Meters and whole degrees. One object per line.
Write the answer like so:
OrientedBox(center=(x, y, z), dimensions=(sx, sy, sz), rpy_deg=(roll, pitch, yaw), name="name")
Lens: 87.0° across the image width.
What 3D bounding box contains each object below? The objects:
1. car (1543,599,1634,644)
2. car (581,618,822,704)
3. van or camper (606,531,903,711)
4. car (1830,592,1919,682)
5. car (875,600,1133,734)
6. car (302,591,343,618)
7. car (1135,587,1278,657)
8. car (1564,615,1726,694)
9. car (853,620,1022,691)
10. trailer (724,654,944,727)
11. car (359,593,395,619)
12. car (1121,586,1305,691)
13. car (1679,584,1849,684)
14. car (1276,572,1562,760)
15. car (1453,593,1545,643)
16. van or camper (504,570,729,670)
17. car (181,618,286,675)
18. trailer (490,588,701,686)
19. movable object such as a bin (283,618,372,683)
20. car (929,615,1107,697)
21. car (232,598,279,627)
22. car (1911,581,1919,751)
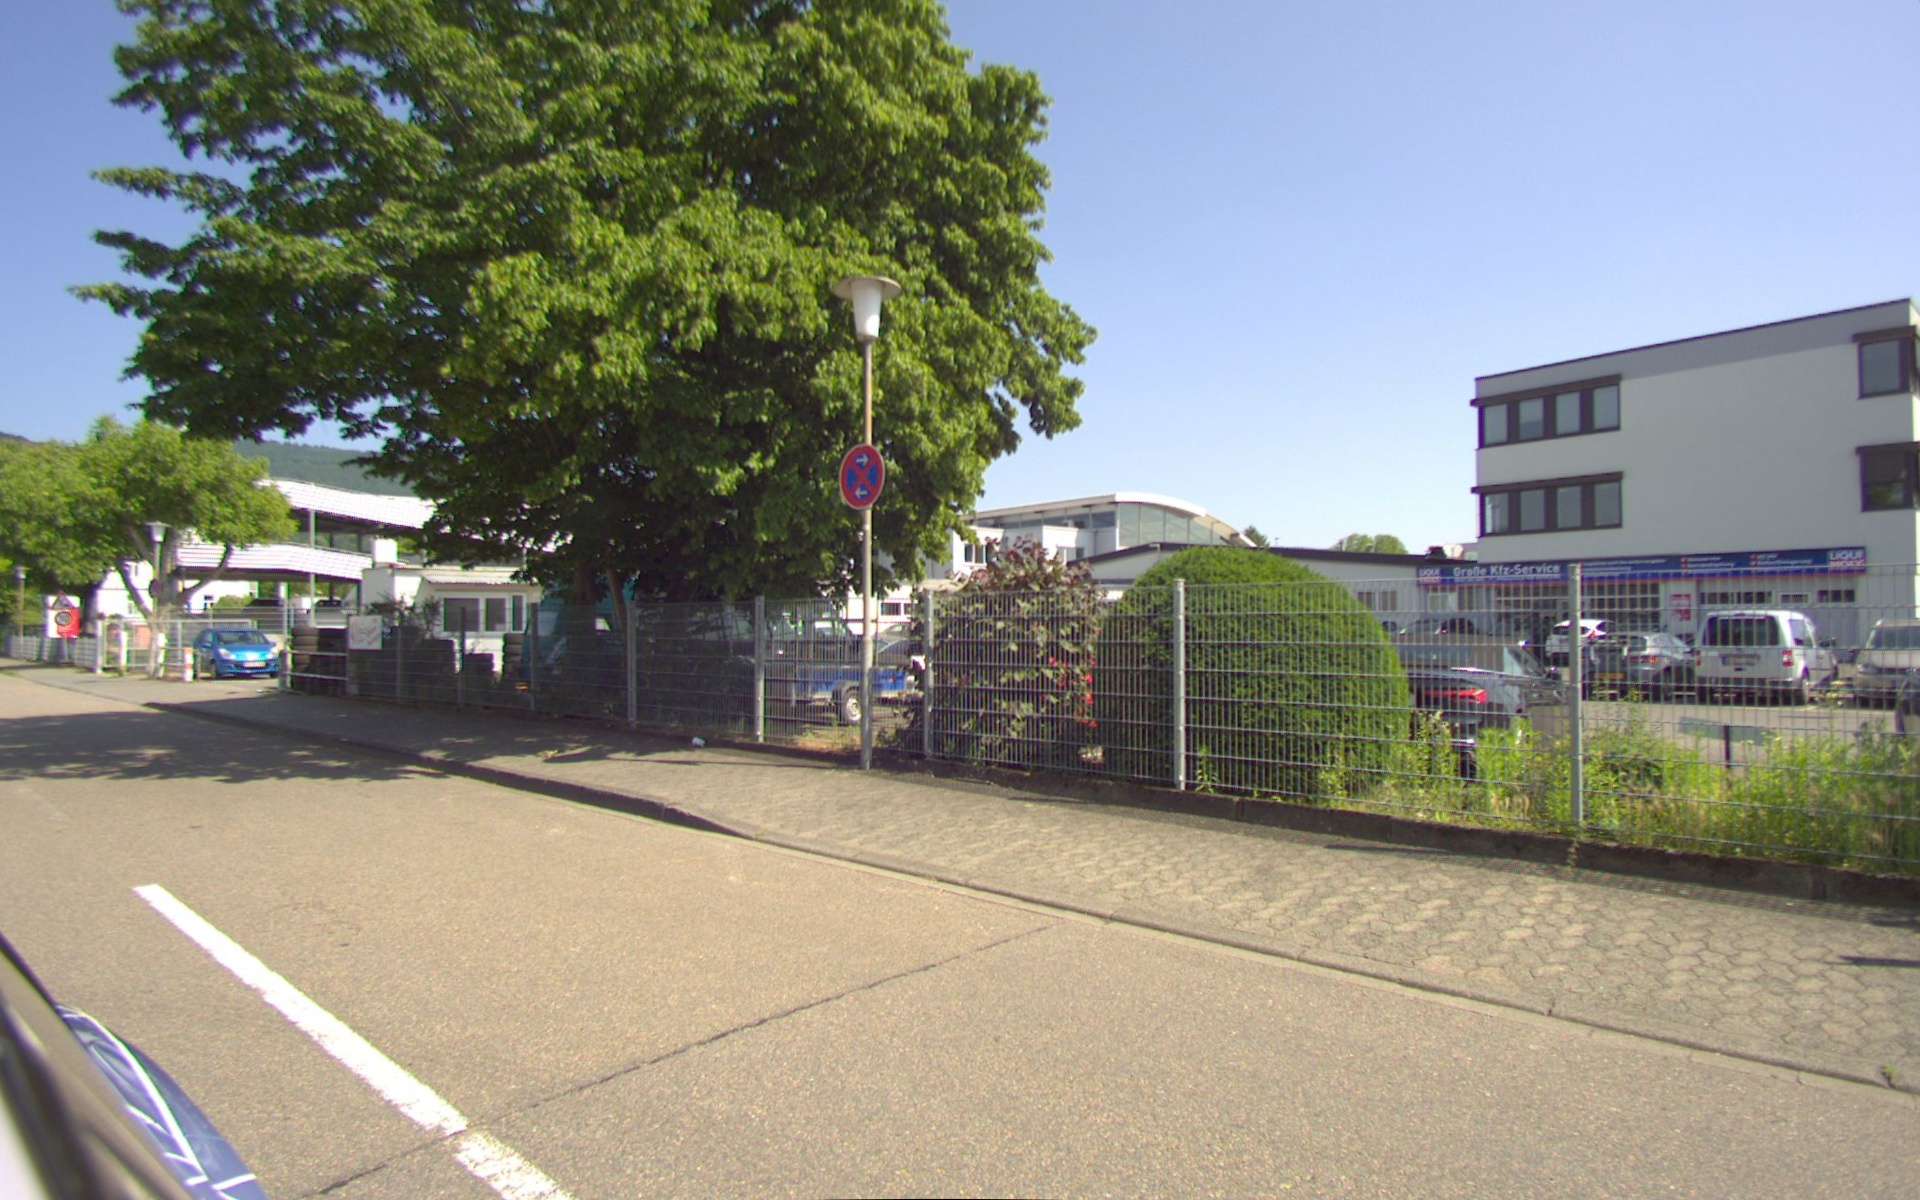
OrientedBox(center=(20.936, 0.698, 33.688), dimensions=(3.080, 1.437, 1.425), rpy_deg=(0, -2, -34), name="car")
OrientedBox(center=(-4.634, 1.047, 18.475), dimensions=(1.861, 1.397, 3.871), rpy_deg=(-2, -2, 45), name="car")
OrientedBox(center=(-3.262, 0.381, 16.870), dimensions=(1.846, 2.596, 4.604), rpy_deg=(-1, -2, 43), name="van or camper")
OrientedBox(center=(18.128, 0.662, 19.129), dimensions=(3.872, 1.580, 1.860), rpy_deg=(0, -1, -39), name="car")
OrientedBox(center=(0.662, 0.807, 13.052), dimensions=(1.518, 1.496, 3.341), rpy_deg=(-1, -2, 43), name="car")
OrientedBox(center=(-37.305, 0.230, 59.306), dimensions=(1.680, 1.469, 3.537), rpy_deg=(-2, 1, -27), name="car")
OrientedBox(center=(7.752, 0.712, 31.621), dimensions=(4.508, 2.029, 2.061), rpy_deg=(1, -2, -40), name="car")
OrientedBox(center=(15.141, 1.129, 22.306), dimensions=(3.976, 1.569, 1.931), rpy_deg=(0, -1, -40), name="car")
OrientedBox(center=(-0.416, 1.134, 21.835), dimensions=(1.730, 1.389, 3.588), rpy_deg=(-2, -2, 39), name="car")
OrientedBox(center=(-1.959, 1.394, 16.292), dimensions=(1.612, 0.946, 3.246), rpy_deg=(-2, -2, 43), name="trailer")
OrientedBox(center=(-35.334, 0.355, 61.431), dimensions=(1.680, 1.469, 3.537), rpy_deg=(-2, 1, -27), name="car")
OrientedBox(center=(4.191, 0.556, 16.578), dimensions=(1.653, 1.484, 3.037), rpy_deg=(-1, 1, 43), name="car")
OrientedBox(center=(16.413, 0.679, 20.608), dimensions=(3.976, 1.837, 1.931), rpy_deg=(1, -2, -40), name="car")
OrientedBox(center=(4.876, 0.585, 10.469), dimensions=(1.854, 1.553, 3.787), rpy_deg=(-1, -2, 38), name="car")
OrientedBox(center=(19.438, 0.666, 36.442), dimensions=(2.000, 1.697, 3.943), rpy_deg=(-2, -2, 43), name="car")
OrientedBox(center=(-7.189, 0.347, 21.490), dimensions=(1.774, 1.877, 4.137), rpy_deg=(-1, 1, 43), name="van or camper")
OrientedBox(center=(-21.098, 1.308, 29.345), dimensions=(3.522, 1.469, 1.624), rpy_deg=(-1, 1, 40), name="car")
OrientedBox(center=(-9.317, 0.856, 26.203), dimensions=(1.999, 2.171, 4.720), rpy_deg=(-1, 1, 41), name="trailer")
OrientedBox(center=(-14.827, 1.136, 23.710), dimensions=(1.364, 1.368, 2.105), rpy_deg=(-3, 1, -43), name="movable object such as a bin")
OrientedBox(center=(1.235, 1.049, 20.232), dimensions=(1.684, 1.463, 3.735), rpy_deg=(-2, -2, 40), name="car")
OrientedBox(center=(-39.904, 0.713, 57.397), dimensions=(1.680, 1.469, 3.536), rpy_deg=(2, -4, -28), name="car")
OrientedBox(center=(8.289, 0.564, 7.249), dimensions=(1.803, 1.523, 3.856), rpy_deg=(-2, -2, 39), name="car")
